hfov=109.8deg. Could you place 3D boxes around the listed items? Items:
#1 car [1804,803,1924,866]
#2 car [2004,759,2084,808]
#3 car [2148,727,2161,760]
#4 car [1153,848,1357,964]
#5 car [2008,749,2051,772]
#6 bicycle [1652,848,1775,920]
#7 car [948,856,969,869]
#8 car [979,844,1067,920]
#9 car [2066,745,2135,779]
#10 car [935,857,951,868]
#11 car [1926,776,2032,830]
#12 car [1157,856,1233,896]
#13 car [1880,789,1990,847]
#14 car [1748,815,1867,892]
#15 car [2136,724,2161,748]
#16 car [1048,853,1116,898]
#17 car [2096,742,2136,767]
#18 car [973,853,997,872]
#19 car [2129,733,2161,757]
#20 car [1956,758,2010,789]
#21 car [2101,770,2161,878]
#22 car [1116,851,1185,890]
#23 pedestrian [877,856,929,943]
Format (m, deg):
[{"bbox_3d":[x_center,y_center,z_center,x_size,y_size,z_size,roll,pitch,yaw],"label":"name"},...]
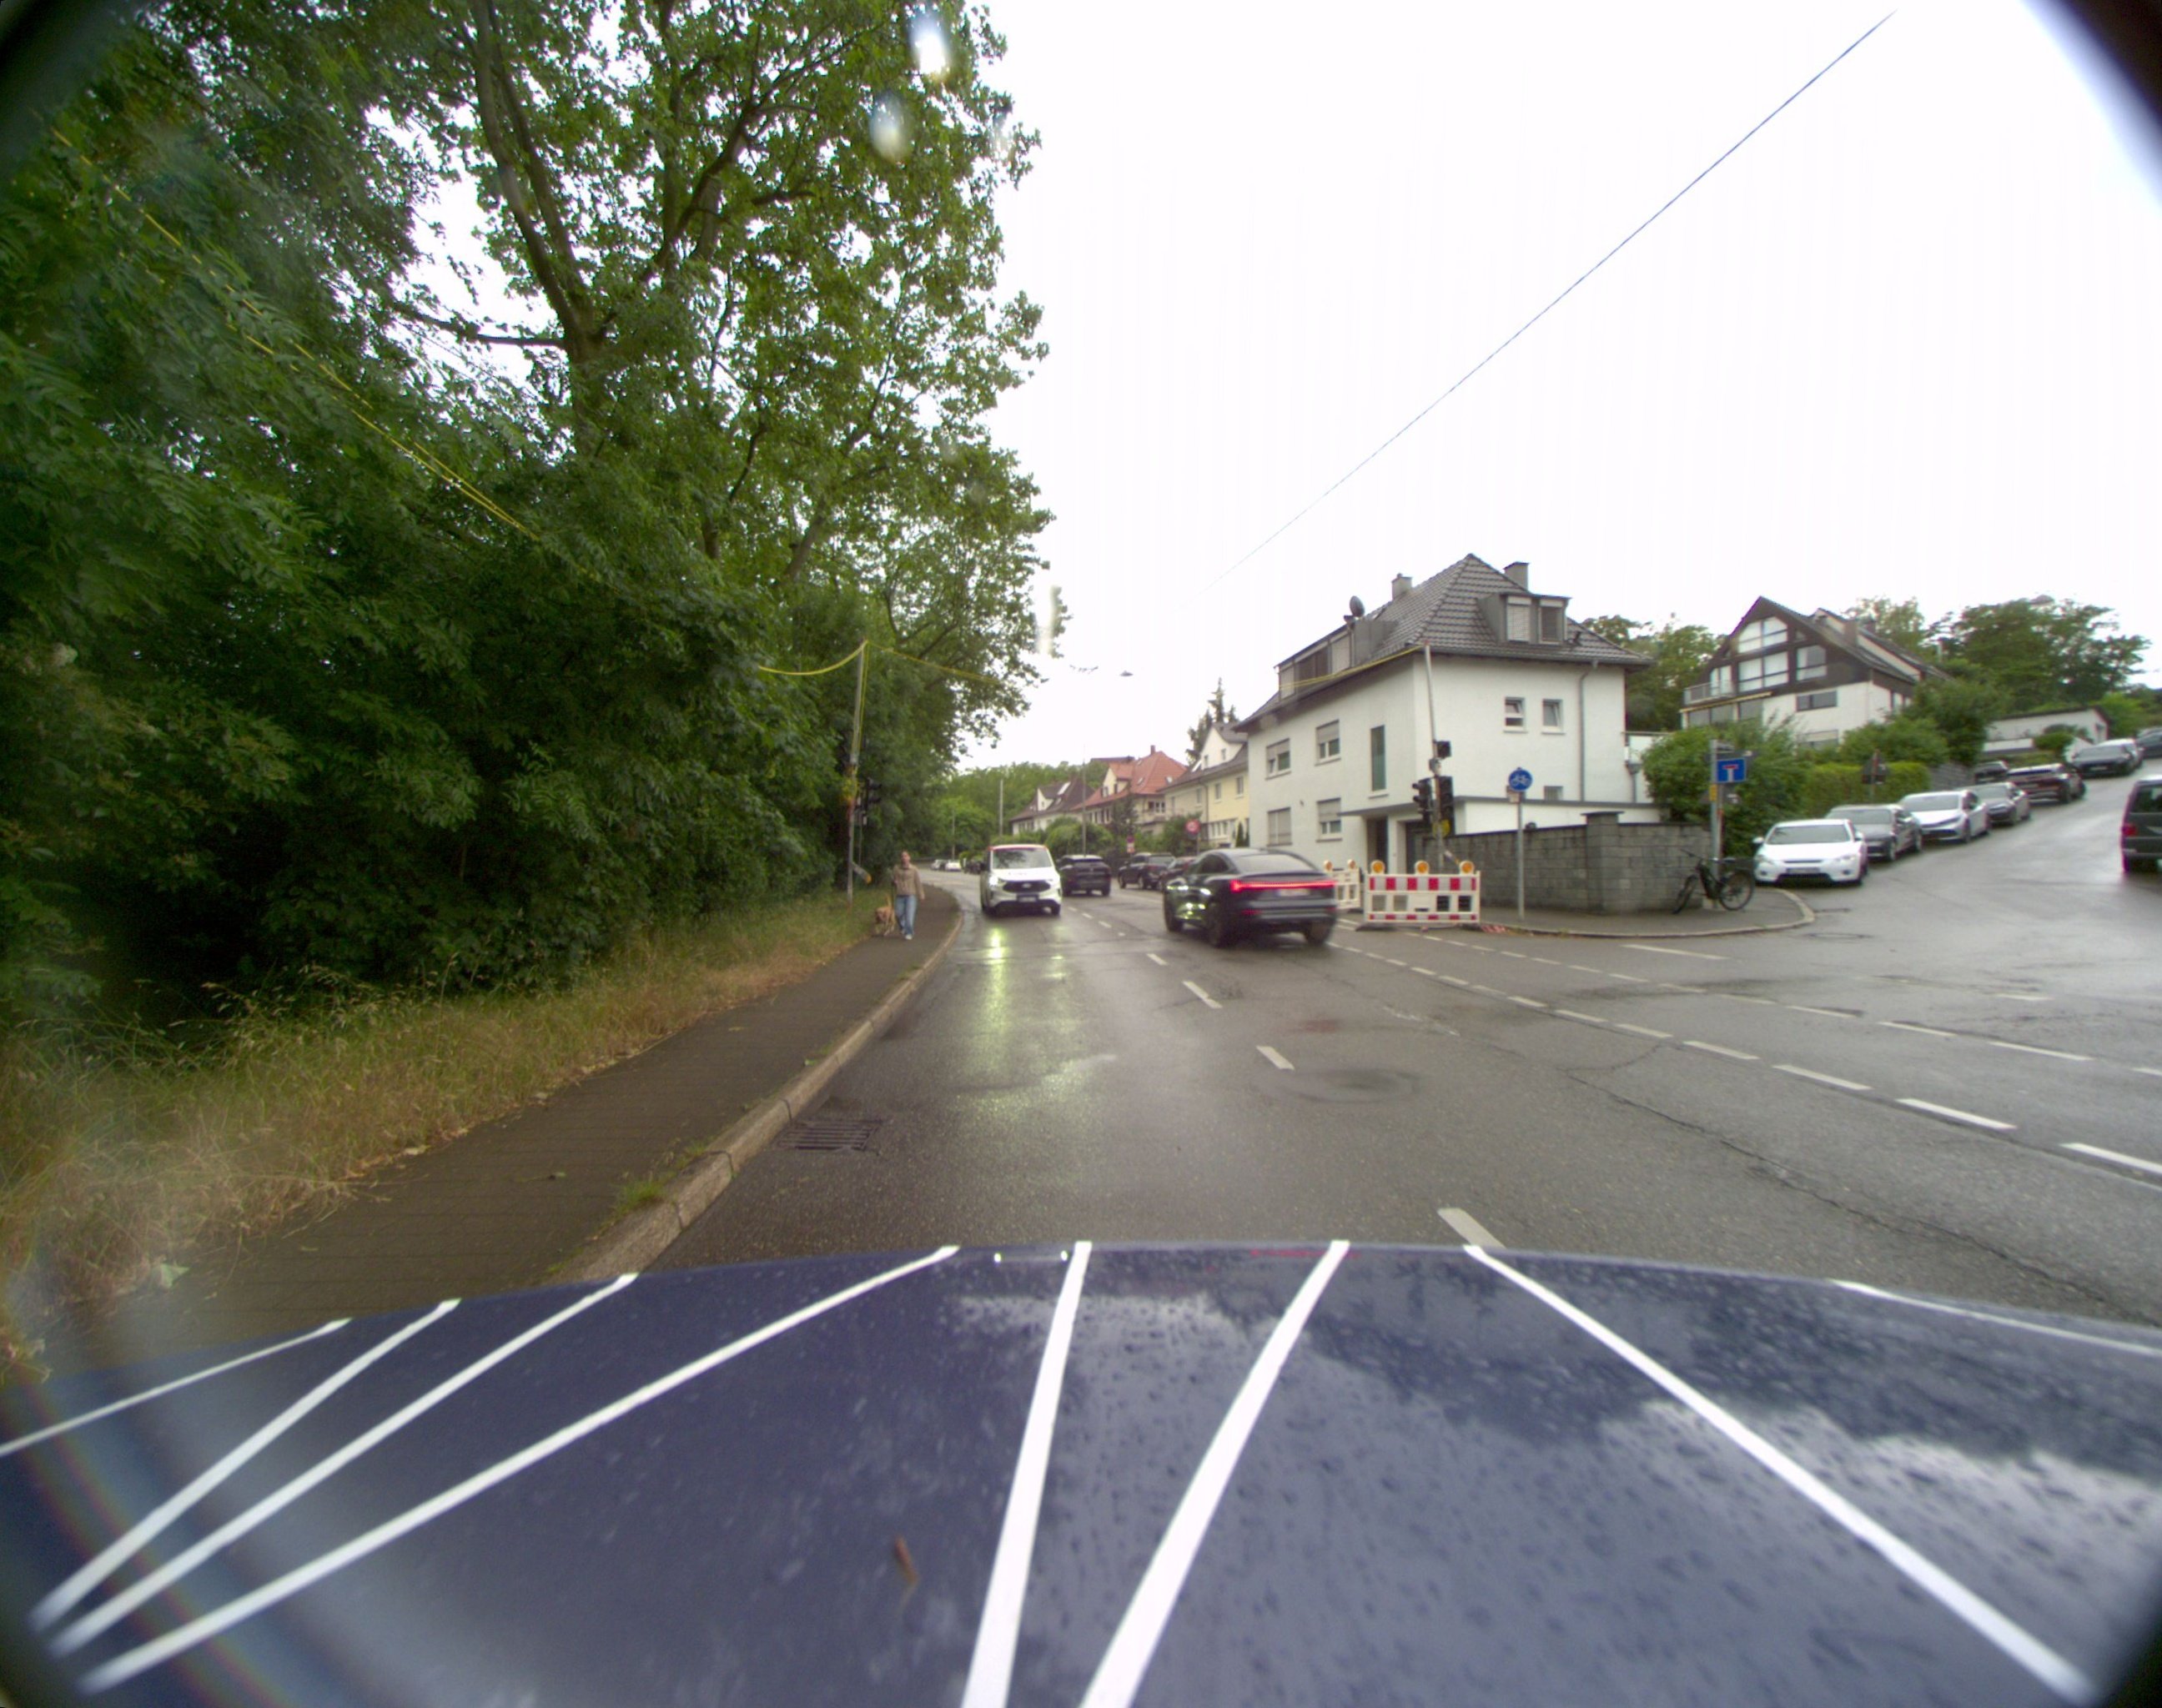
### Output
[{"bbox_3d":[22.466,-0.564,21.763,3.910,1.380,1.719,-7,3,-34],"label":"car"},{"bbox_3d":[40.721,-2.994,32.117,4.004,1.617,1.638,-8,4,-32],"label":"car"},{"bbox_3d":[72.465,-7.465,48.986,2.003,2.000,3.993,-2,-4,-32],"label":"car"},{"bbox_3d":[2.853,0.770,13.738,2.000,1.664,4.684,-2,0,-8],"label":"car"},{"bbox_3d":[57.240,-5.653,45.870,3.656,1.205,1.577,-7,3,-38],"label":"car"},{"bbox_3d":[11.590,0.533,13.939,2.006,1.233,0.510,-2,3,-8],"label":"bicycle"},{"bbox_3d":[-15.234,1.065,94.179,2.071,1.477,4.556,-2,0,-16],"label":"car"},{"bbox_3d":[-1.828,0.724,22.211,2.103,1.908,5.086,-2,0,-9],"label":"car"},{"bbox_3d":[54.816,-4.893,40.845,4.034,1.511,1.786,-2,0,-31],"label":"car"},{"bbox_3d":[-18.741,1.125,103.015,1.691,1.419,3.770,-2,0,-17],"label":"car"},{"bbox_3d":[32.329,-1.840,27.338,4.111,1.430,1.921,-9,4,-33],"label":"car"},{"bbox_3d":[4.385,0.814,29.909,1.787,1.423,3.844,-2,0,-10],"label":"car"},{"bbox_3d":[27.272,-1.160,24.235,3.951,1.462,1.755,-7,3,-33],"label":"car"},{"bbox_3d":[17.779,-0.054,18.541,4.126,1.455,1.849,-7,4,-43],"label":"car"},{"bbox_3d":[81.119,-8.887,55.964,1.754,1.508,3.961,-3,1,-35],"label":"car"},{"bbox_3d":[-0.041,0.801,30.765,1.873,1.612,4.160,-2,0,-12],"label":"car"},{"bbox_3d":[59.838,-5.757,43.902,2.988,1.191,1.305,-6,3,-35],"label":"car"},{"bbox_3d":[-9.607,0.837,75.959,1.882,1.814,4.121,-2,0,-14],"label":"car"},{"bbox_3d":[68.326,-6.954,47.702,1.286,1.310,2.945,-3,1,-36],"label":"car"},{"bbox_3d":[52.869,-4.663,44.521,4.020,1.545,1.812,-3,1,-37],"label":"car"},{"bbox_3d":[23.885,-0.758,16.265,4.497,2.003,1.996,-7,3,-31],"label":"car"},{"bbox_3d":[3.132,0.728,35.037,1.798,1.630,4.150,-1,0,-15],"label":"car"},{"bbox_3d":[-3.157,0.793,13.545,0.735,1.490,0.785,-1,1,-1],"label":"pedestrian"}]
